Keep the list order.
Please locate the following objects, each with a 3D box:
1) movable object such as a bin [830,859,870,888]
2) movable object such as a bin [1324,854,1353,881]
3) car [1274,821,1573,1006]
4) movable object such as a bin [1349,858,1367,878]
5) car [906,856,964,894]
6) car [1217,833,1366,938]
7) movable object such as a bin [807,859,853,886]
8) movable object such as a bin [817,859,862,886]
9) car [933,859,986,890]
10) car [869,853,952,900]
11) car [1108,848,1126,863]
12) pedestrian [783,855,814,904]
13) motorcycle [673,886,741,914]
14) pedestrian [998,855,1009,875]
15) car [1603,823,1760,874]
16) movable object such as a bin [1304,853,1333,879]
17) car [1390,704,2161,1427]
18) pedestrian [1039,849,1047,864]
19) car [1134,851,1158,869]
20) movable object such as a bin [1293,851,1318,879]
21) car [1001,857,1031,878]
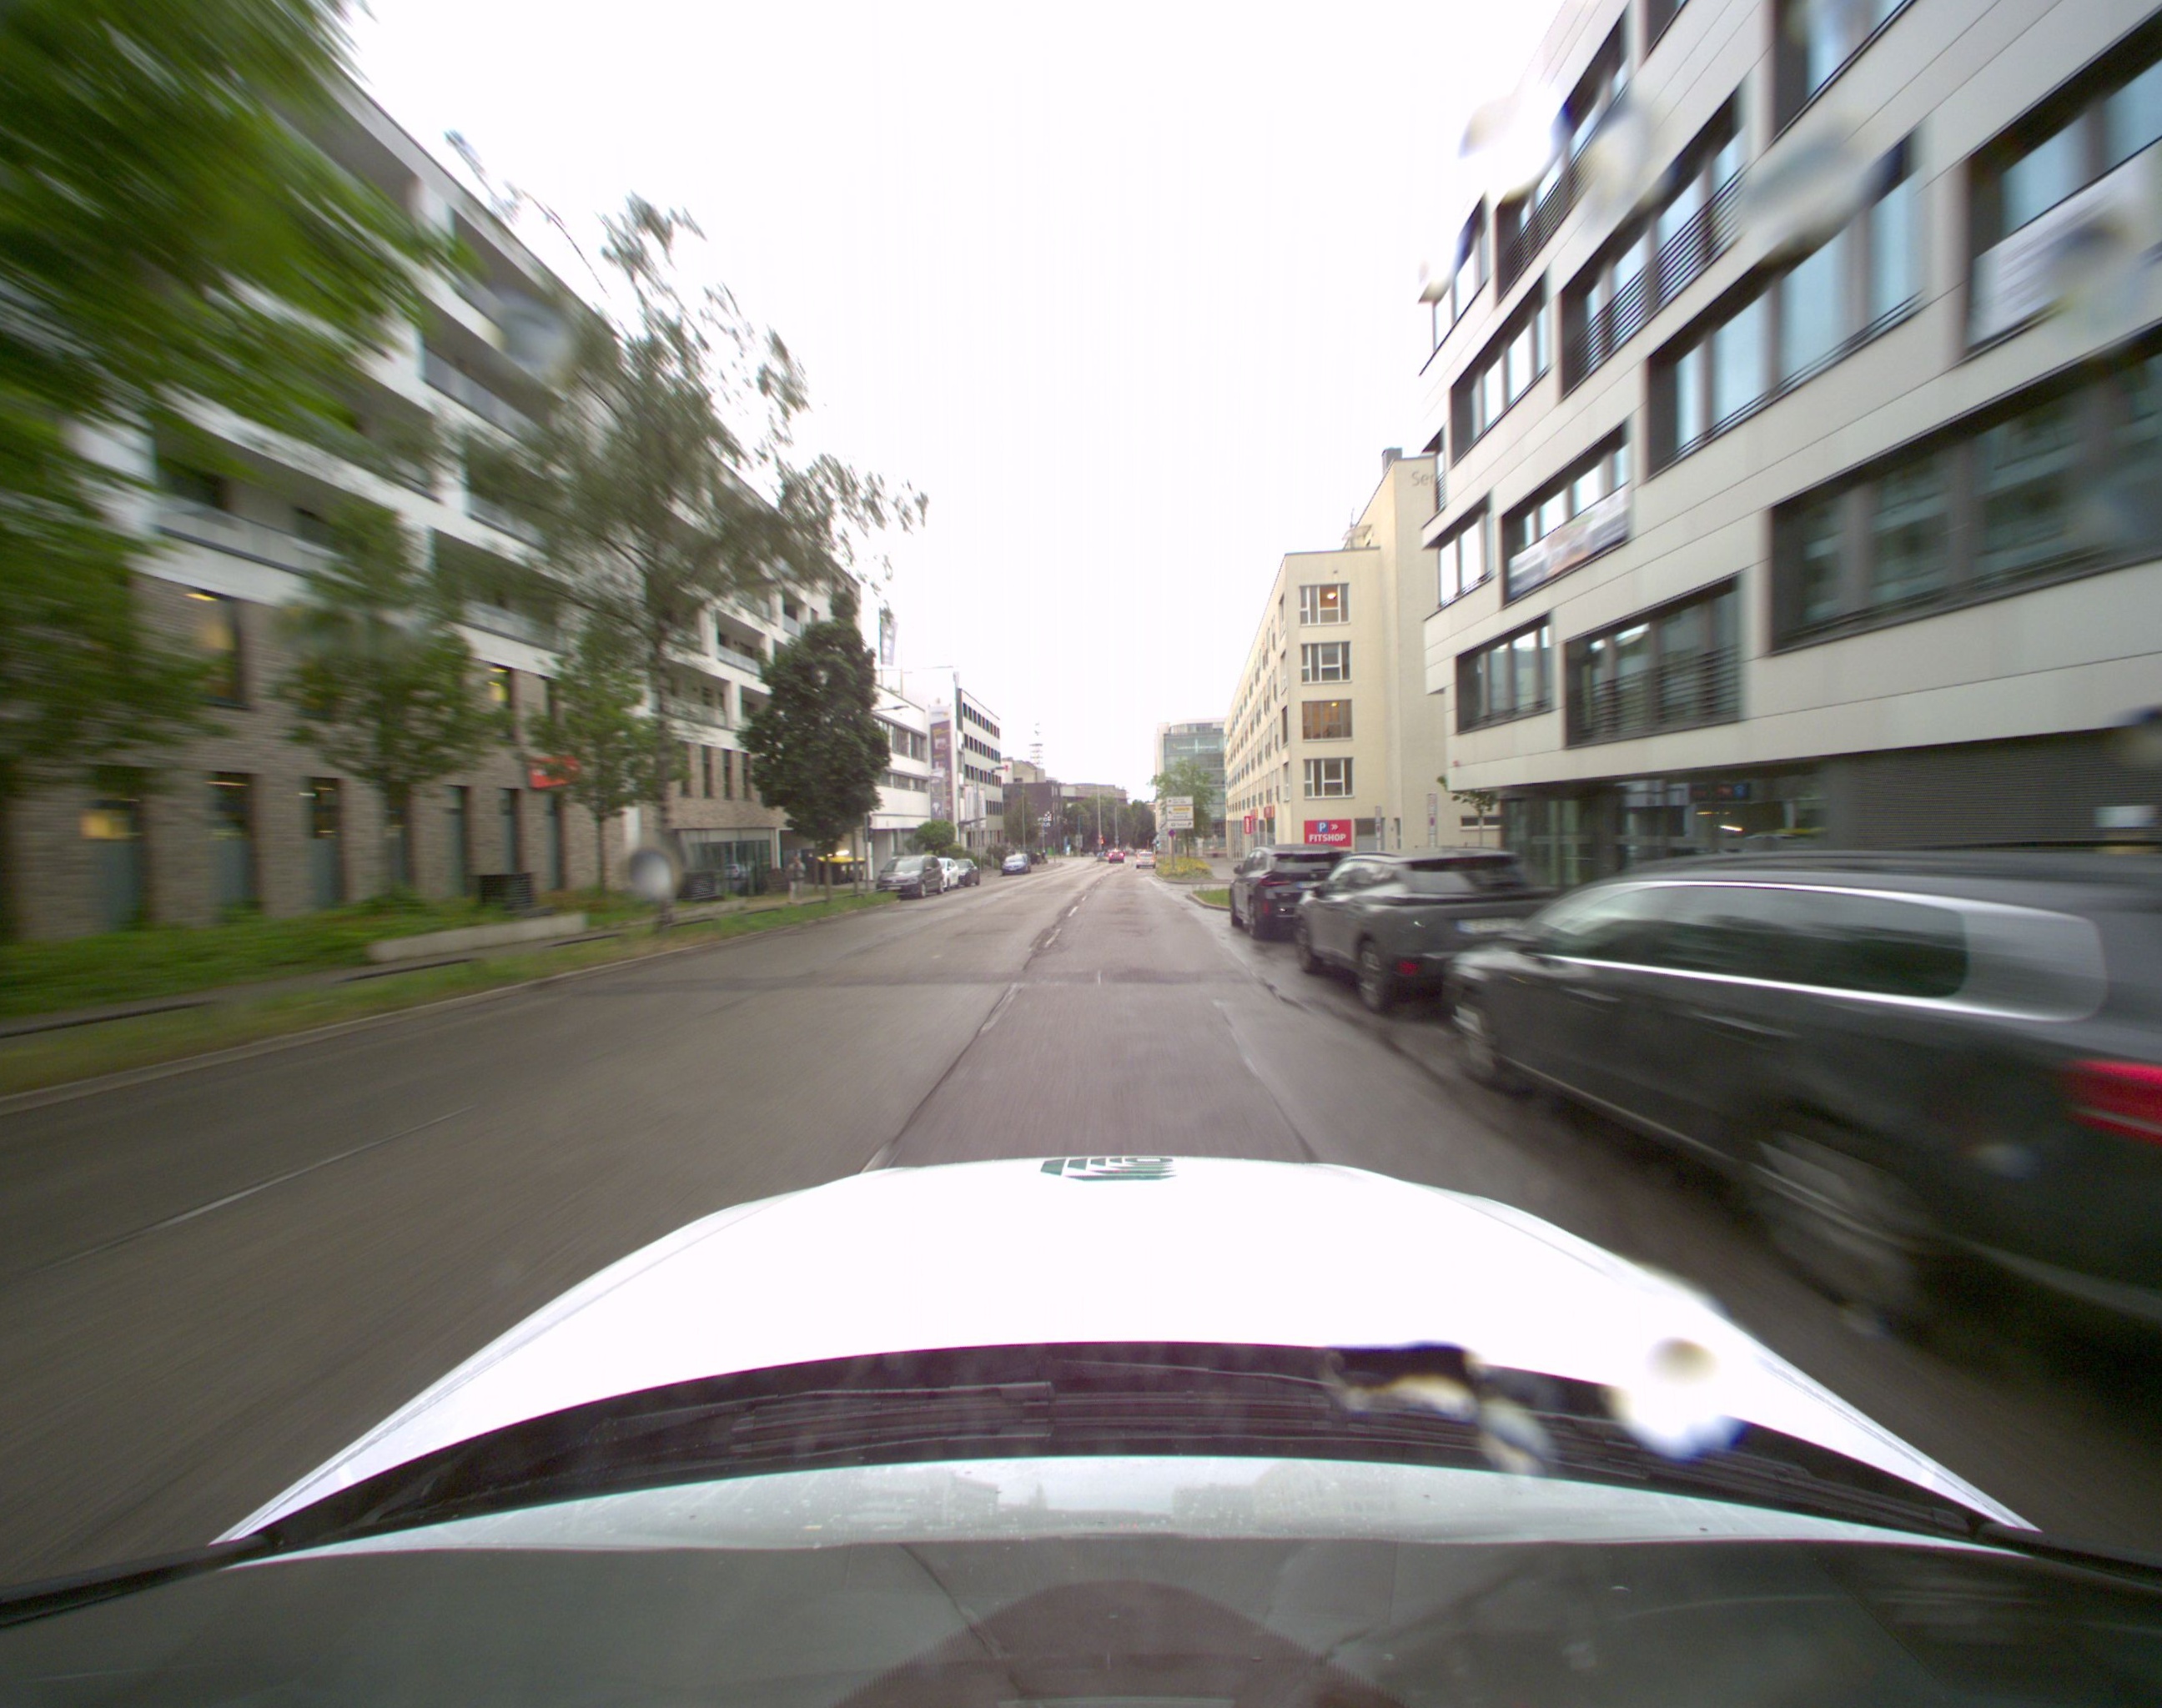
[{"bbox_3d":[-13.026,1.069,45.984,1.790,1.510,1.481,-3,-1,-1],"label":"movable object such as a bin"},{"bbox_3d":[13.768,0.696,43.544,1.255,1.402,1.114,-2,-1,5],"label":"movable object such as a bin"},{"bbox_3d":[3.537,0.564,9.381,1.741,1.605,4.376,-1,-1,3],"label":"car"},{"bbox_3d":[14.794,0.742,43.468,0.695,1.027,0.854,-2,-1,5],"label":"movable object such as a bin"},{"bbox_3d":[-6.640,0.921,37.424,1.766,1.600,4.034,-1,0,2],"label":"car"},{"bbox_3d":[3.815,0.496,15.585,1.800,1.679,4.715,-1,0,3],"label":"car"},{"bbox_3d":[-13.262,0.979,43.104,2.021,1.430,1.289,0,-1,-1],"label":"movable object such as a bin"},{"bbox_3d":[-13.164,1.018,44.495,2.048,1.423,1.316,-1,-1,-1],"label":"movable object such as a bin"},{"bbox_3d":[-6.204,1.040,42.142,1.788,1.516,4.250,-1,-1,4],"label":"car"},{"bbox_3d":[-6.614,0.828,32.166,2.070,1.609,4.687,-3,0,1],"label":"car"},{"bbox_3d":[4.558,0.218,102.755,2.133,1.728,4.003,-1,-1,3],"label":"car"},{"bbox_3d":[-9.893,0.882,28.562,0.706,1.683,0.956,-1,0,-2],"label":"pedestrian"},{"bbox_3d":[-11.630,1.425,25.317,1.987,0.808,0.721,-2,-1,20],"label":"motorcycle"},{"bbox_3d":[-6.734,0.971,70.702,0.731,1.708,0.896,-1,-2,-24],"label":"pedestrian"},{"bbox_3d":[20.724,-0.189,28.250,3.967,1.615,1.897,1,0,6],"label":"car"},{"bbox_3d":[12.420,0.633,42.621,1.229,1.320,1.193,-2,-1,4],"label":"movable object such as a bin"},{"bbox_3d":[3.320,0.477,4.169,1.800,1.563,4.849,-1,-1,3],"label":"car"},{"bbox_3d":[-4.864,0.308,103.964,0.959,1.955,0.776,-1,-1,-9],"label":"pedestrian"},{"bbox_3d":[5.731,0.518,72.512,1.985,1.577,3.999,-1,0,3],"label":"car"},{"bbox_3d":[12.393,0.585,44.946,1.168,1.503,1.015,-2,-1,5],"label":"movable object such as a bin"},{"bbox_3d":[-4.902,1.041,61.723,1.907,1.481,4.356,-1,-1,0],"label":"car"}]
